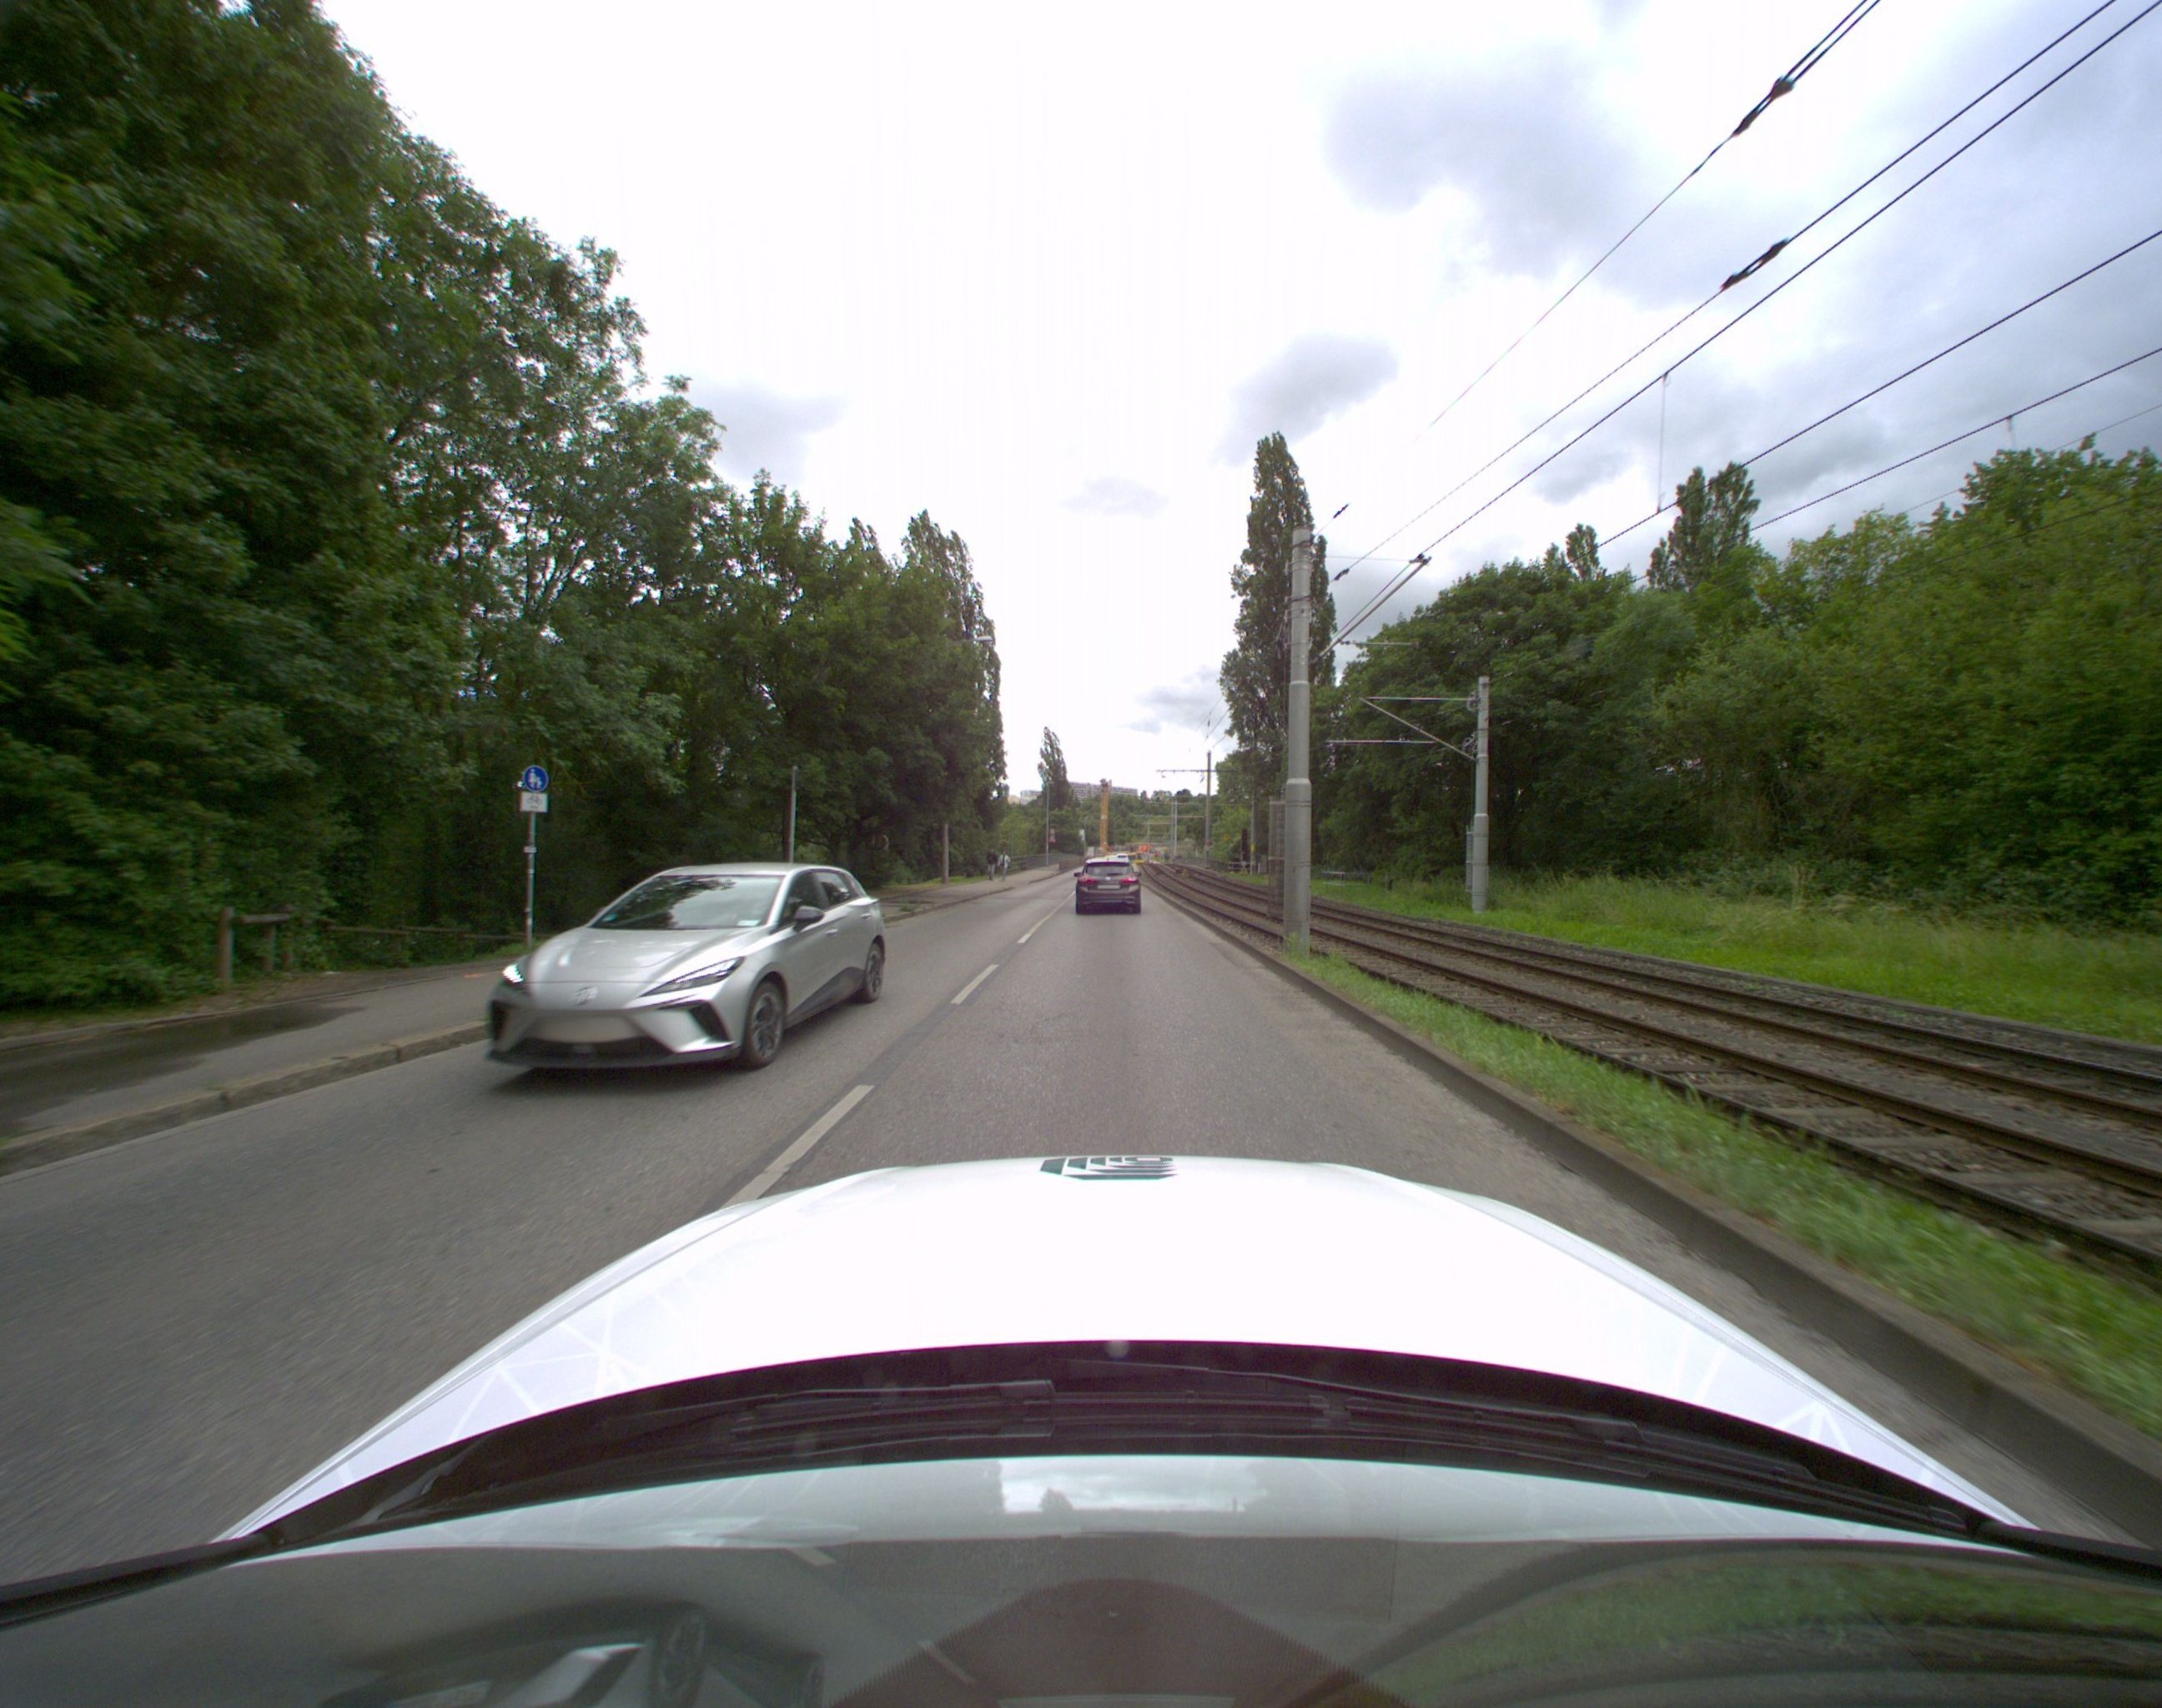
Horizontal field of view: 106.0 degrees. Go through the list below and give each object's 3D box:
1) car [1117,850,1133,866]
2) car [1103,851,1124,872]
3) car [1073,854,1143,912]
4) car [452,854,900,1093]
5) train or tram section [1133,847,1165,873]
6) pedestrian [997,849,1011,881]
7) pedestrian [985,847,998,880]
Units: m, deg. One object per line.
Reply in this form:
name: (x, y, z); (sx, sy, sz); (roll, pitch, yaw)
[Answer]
car: (4.904, 0.432, 90.397); (1.673, 1.606, 4.313); (1, 0, 3)
car: (2.814, 0.626, 69.257); (1.673, 1.606, 4.313); (2, 0, 3)
car: (0.707, 0.800, 23.334); (1.824, 1.510, 3.999); (0, -1, 0)
car: (-3.108, 0.783, 7.392); (1.787, 1.492, 4.183); (-2, 0, 2)
train or tram section: (15.603, 1.595, 188.433); (3.024, 5.183, 23.001); (2, -2, -6)
pedestrian: (-4.328, 0.596, 45.646); (0.549, 1.765, 0.858); (4, 0, 2)
pedestrian: (-5.000, 0.531, 45.501); (0.585, 1.803, 0.823); (2, 0, 2)
